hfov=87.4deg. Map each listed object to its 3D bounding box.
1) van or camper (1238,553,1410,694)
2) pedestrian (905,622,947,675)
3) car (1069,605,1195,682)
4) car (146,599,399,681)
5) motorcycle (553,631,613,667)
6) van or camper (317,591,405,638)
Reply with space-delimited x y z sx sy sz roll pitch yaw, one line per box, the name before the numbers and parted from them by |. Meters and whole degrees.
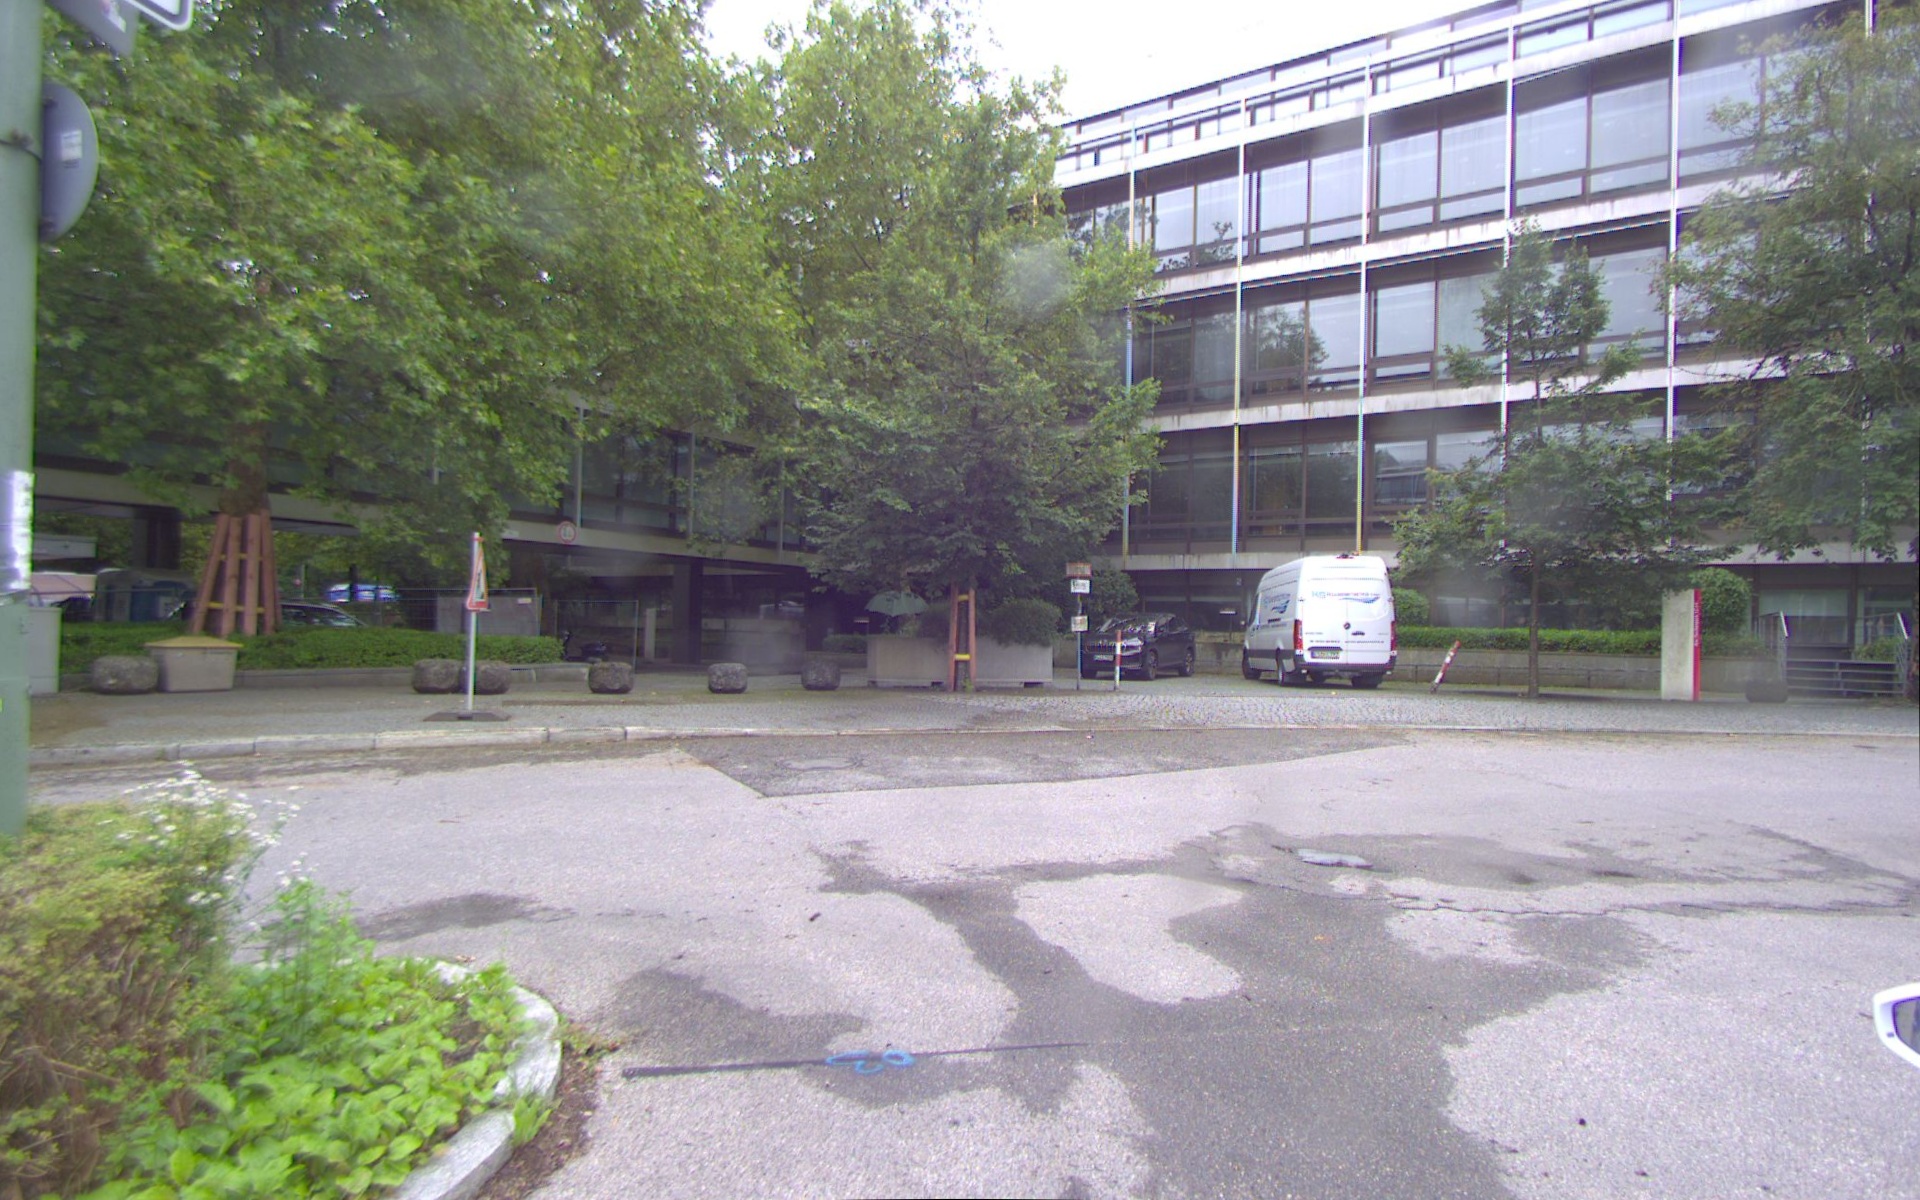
van or camper | 7.819 0.603 22.366 2.119 2.614 6.545 2 -3 7
pedestrian | -0.860 1.206 25.384 0.913 1.295 0.540 1 -1 34
car | 4.451 1.062 25.482 1.912 1.744 4.233 1 -1 28
car | -13.972 0.790 20.611 1.880 1.493 3.850 1 -1 33
motorcycle | -11.548 1.503 30.827 1.665 1.069 0.670 1 -1 -17
van or camper | -34.619 0.840 58.047 4.566 2.630 2.275 0 -1 28
